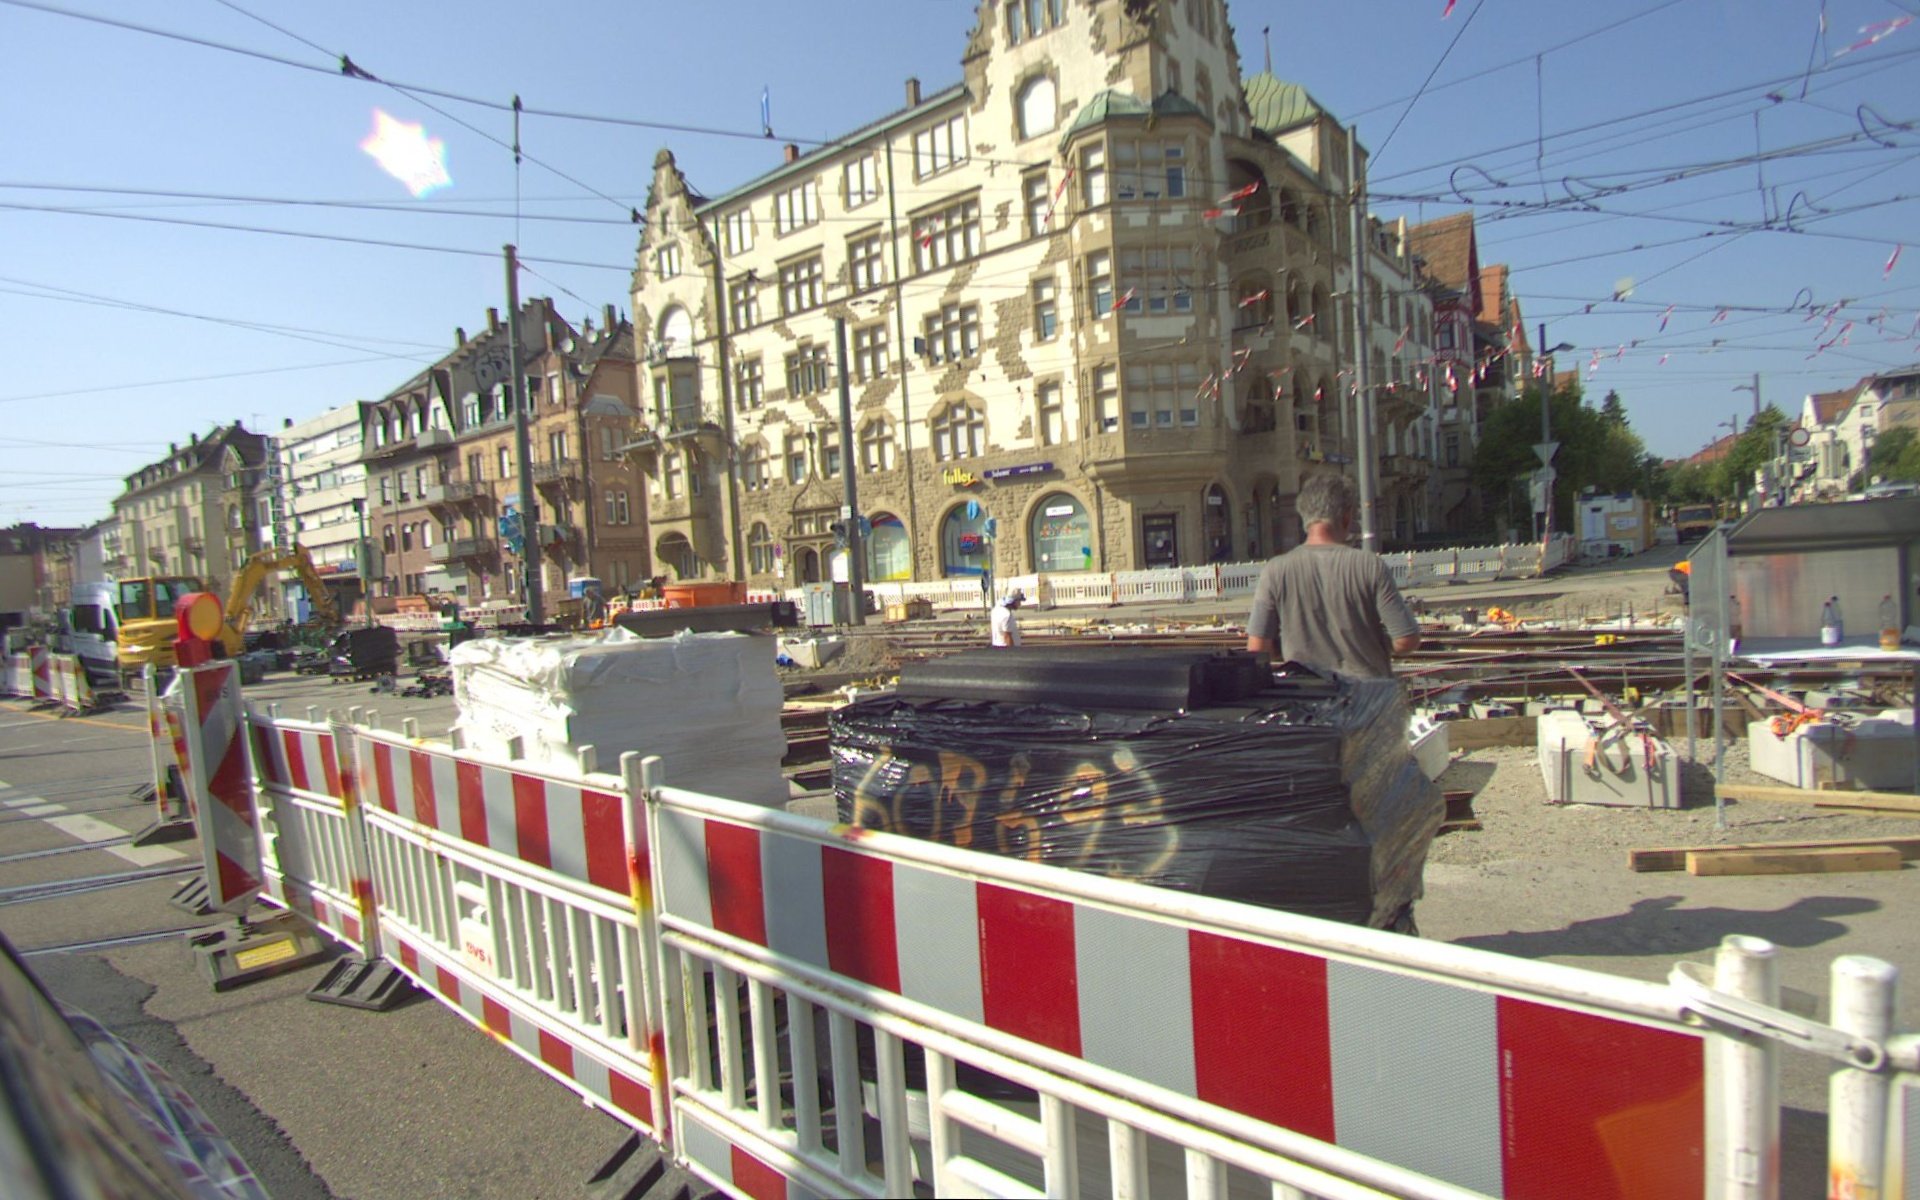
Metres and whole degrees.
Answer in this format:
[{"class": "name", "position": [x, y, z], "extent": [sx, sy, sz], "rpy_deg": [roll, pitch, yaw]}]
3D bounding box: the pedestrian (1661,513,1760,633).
[{"class": "pedestrian", "position": [10.407, -0.372, 14.056], "extent": [0.726, 1.568, 0.754], "rpy_deg": [-4, 1, -4]}]

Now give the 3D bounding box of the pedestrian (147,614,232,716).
[{"class": "pedestrian", "position": [-13.979, 1.166, 18.372], "extent": [0.900, 1.752, 0.701], "rpy_deg": [-3, 1, 3]}]

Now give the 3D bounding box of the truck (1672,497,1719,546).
[{"class": "truck", "position": [46.279, -4.925, 63.776], "extent": [2.234, 2.810, 6.282], "rpy_deg": [-3, 2, 35]}]

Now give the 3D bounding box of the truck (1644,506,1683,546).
[{"class": "truck", "position": [54.042, -5.645, 77.714], "extent": [2.234, 2.810, 5.532], "rpy_deg": [-3, 2, 35]}]

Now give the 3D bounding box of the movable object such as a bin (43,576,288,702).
[{"class": "movable object such as a bin", "position": [-17.638, 0.818, 22.627], "extent": [2.898, 2.426, 3.152], "rpy_deg": [-3, 2, 20]}]

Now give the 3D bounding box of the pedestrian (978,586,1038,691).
[{"class": "pedestrian", "position": [0.606, 0.480, 12.771], "extent": [0.544, 1.256, 0.544], "rpy_deg": [-3, 1, 22]}]

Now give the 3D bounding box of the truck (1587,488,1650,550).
[{"class": "truck", "position": [37.067, -4.509, 56.868], "extent": [2.626, 3.066, 6.282], "rpy_deg": [-3, 2, 35]}]

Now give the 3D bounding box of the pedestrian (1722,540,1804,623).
[{"class": "pedestrian", "position": [12.002, -0.267, 15.152], "extent": [0.864, 1.192, 0.724], "rpy_deg": [-1, 0, 31]}]

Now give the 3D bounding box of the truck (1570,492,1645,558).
[{"class": "truck", "position": [31.832, -3.656, 49.648], "extent": [2.686, 2.835, 5.969], "rpy_deg": [-3, 2, 36]}]

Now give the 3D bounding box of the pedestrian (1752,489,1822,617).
[{"class": "pedestrian", "position": [11.505, -0.648, 14.103], "extent": [0.677, 1.715, 0.744], "rpy_deg": [-3, 1, 38]}]

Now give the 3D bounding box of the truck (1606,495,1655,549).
[{"class": "truck", "position": [42.330, -4.906, 63.831], "extent": [2.234, 3.066, 6.282], "rpy_deg": [-3, 2, 35]}]

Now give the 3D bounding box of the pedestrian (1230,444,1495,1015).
[{"class": "pedestrian", "position": [1.412, 0.412, 3.543], "extent": [0.718, 1.788, 0.461], "rpy_deg": [-3, 1, 32]}]
